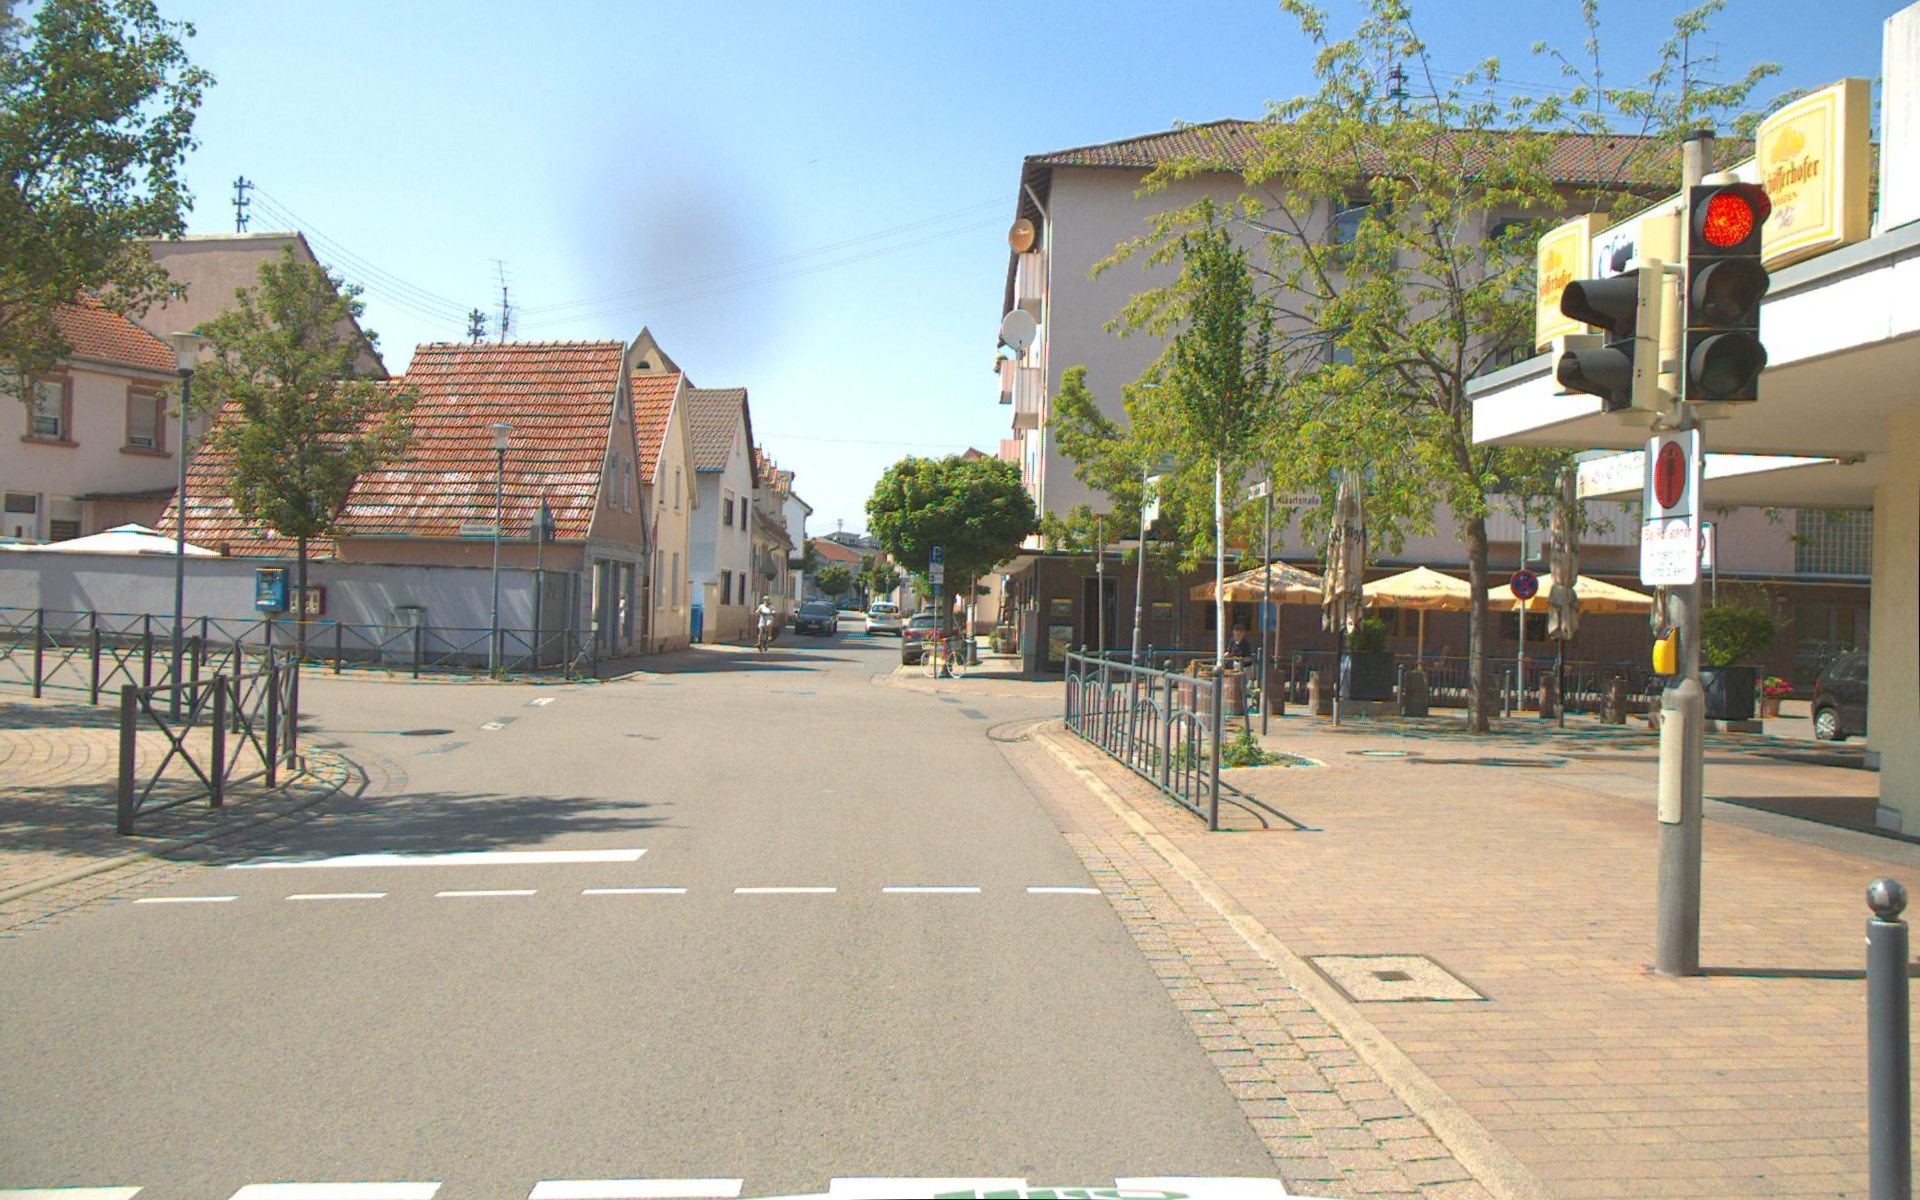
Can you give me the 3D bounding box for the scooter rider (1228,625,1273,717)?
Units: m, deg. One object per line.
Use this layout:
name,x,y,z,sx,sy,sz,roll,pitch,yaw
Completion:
scooter rider,4.234,1.032,24.104,0.410,1.308,0.514,2,-1,-21

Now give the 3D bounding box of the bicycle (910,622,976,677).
bicycle,-0.403,1.142,38.601,0.523,1.214,1.648,2,-1,-44

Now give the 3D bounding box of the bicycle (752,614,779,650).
bicycle,-6.179,1.014,52.581,0.660,1.113,1.895,0,0,-1

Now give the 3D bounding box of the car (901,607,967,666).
car,-0.698,1.012,47.371,1.768,1.528,4.000,2,0,0

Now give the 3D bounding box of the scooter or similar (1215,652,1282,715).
scooter or similar,4.208,1.220,24.125,0.875,0.889,0.377,2,-1,-22

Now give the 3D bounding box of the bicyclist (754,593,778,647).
bicyclist,-6.167,0.631,52.555,0.655,1.720,0.761,1,-1,-1

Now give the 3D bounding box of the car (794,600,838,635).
car,-6.775,0.814,78.087,1.679,1.543,3.786,2,0,0

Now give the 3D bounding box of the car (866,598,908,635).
car,-3.544,0.801,80.985,1.796,1.681,4.000,2,0,0
